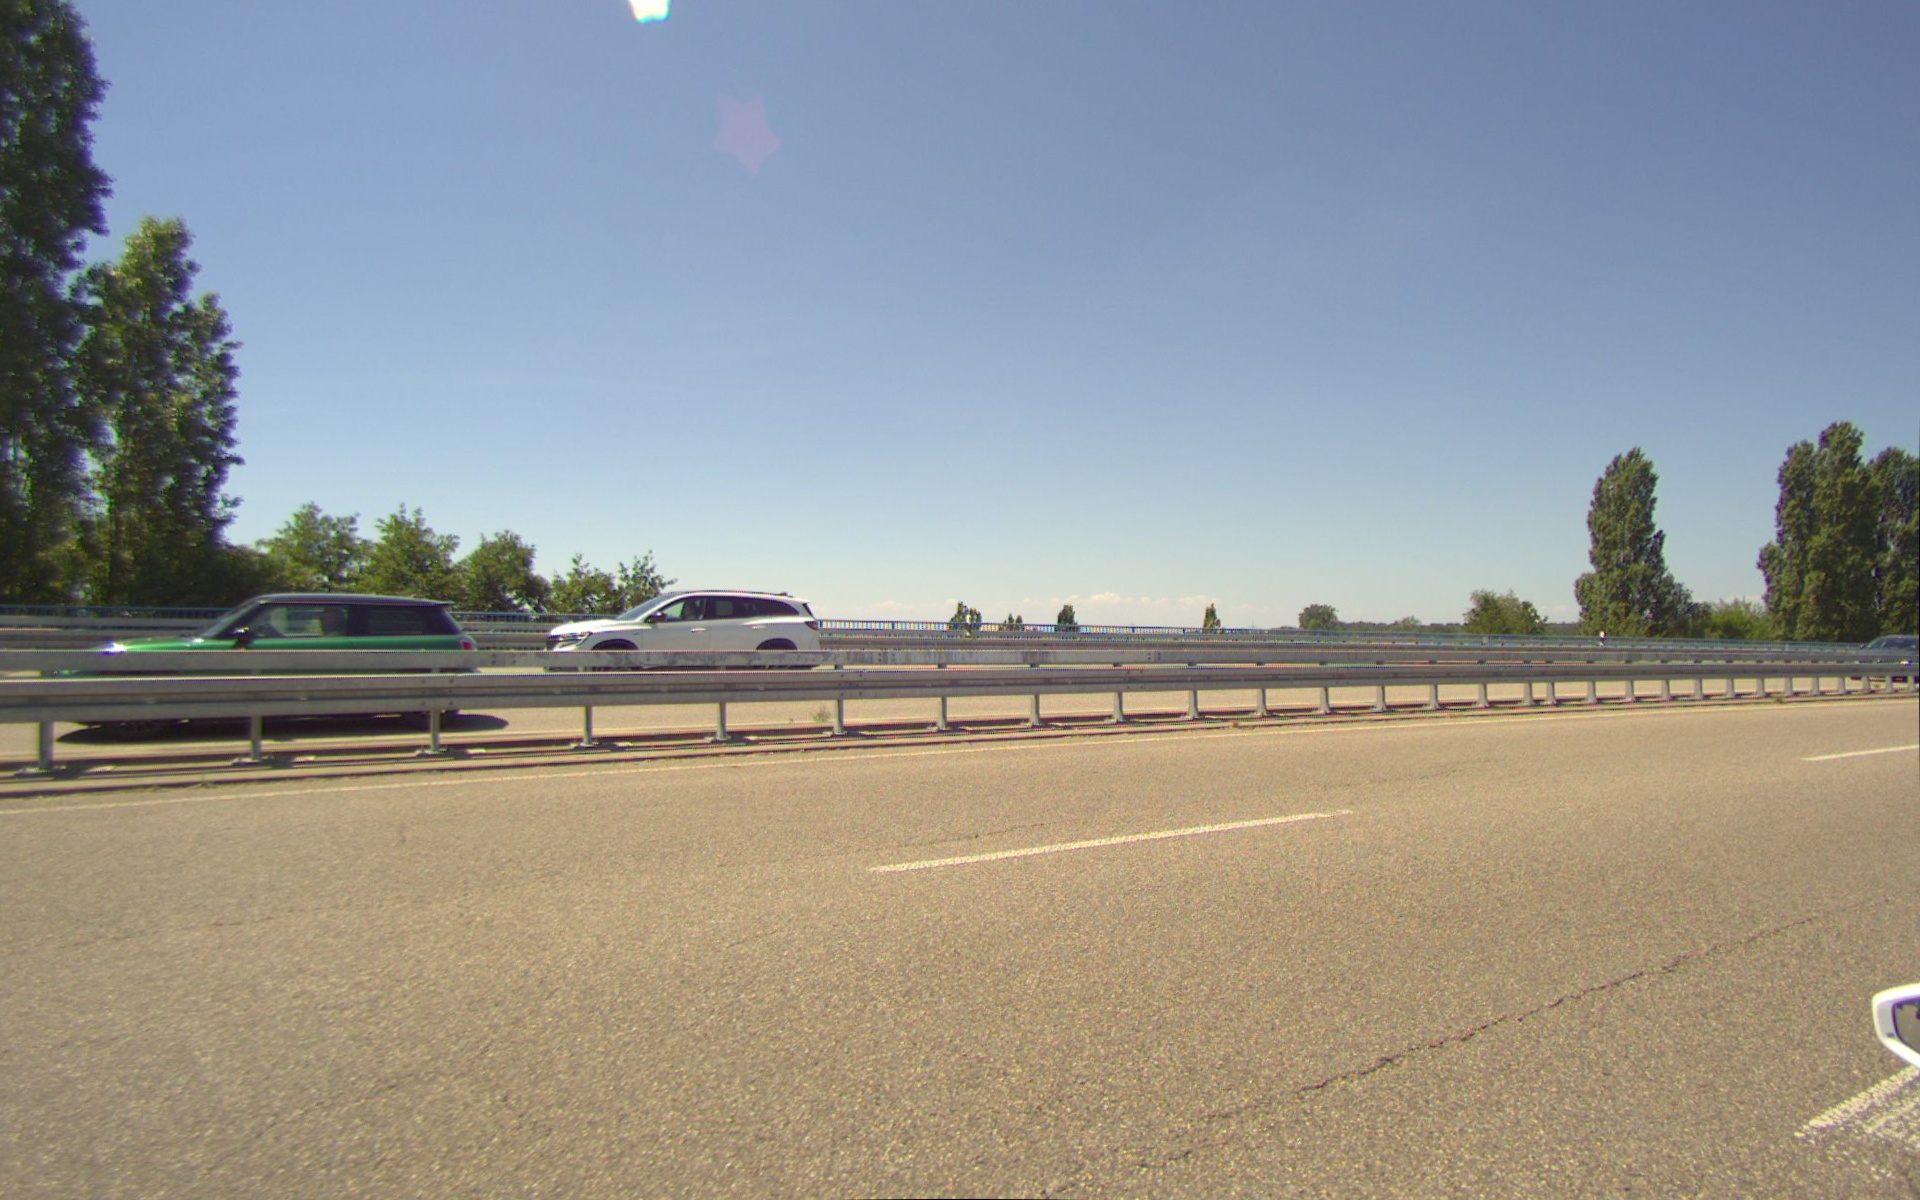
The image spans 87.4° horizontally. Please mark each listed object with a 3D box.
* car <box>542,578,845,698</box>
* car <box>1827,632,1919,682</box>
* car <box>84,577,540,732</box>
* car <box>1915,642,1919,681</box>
[{"bbox_3d":[-4.552,0.701,17.405,4.739,1.842,1.844,3,-2,-30],"label":"car"},{"bbox_3d":[30.959,1.864,33.327,4.628,1.525,1.896,1,-1,-30],"label":"car"},{"bbox_3d":[-6.870,0.608,11.103,3.902,1.447,1.717,3,-2,-30],"label":"car"},{"bbox_3d":[44.649,2.805,44.653,4.990,1.689,1.835,3,-2,-29],"label":"car"}]
